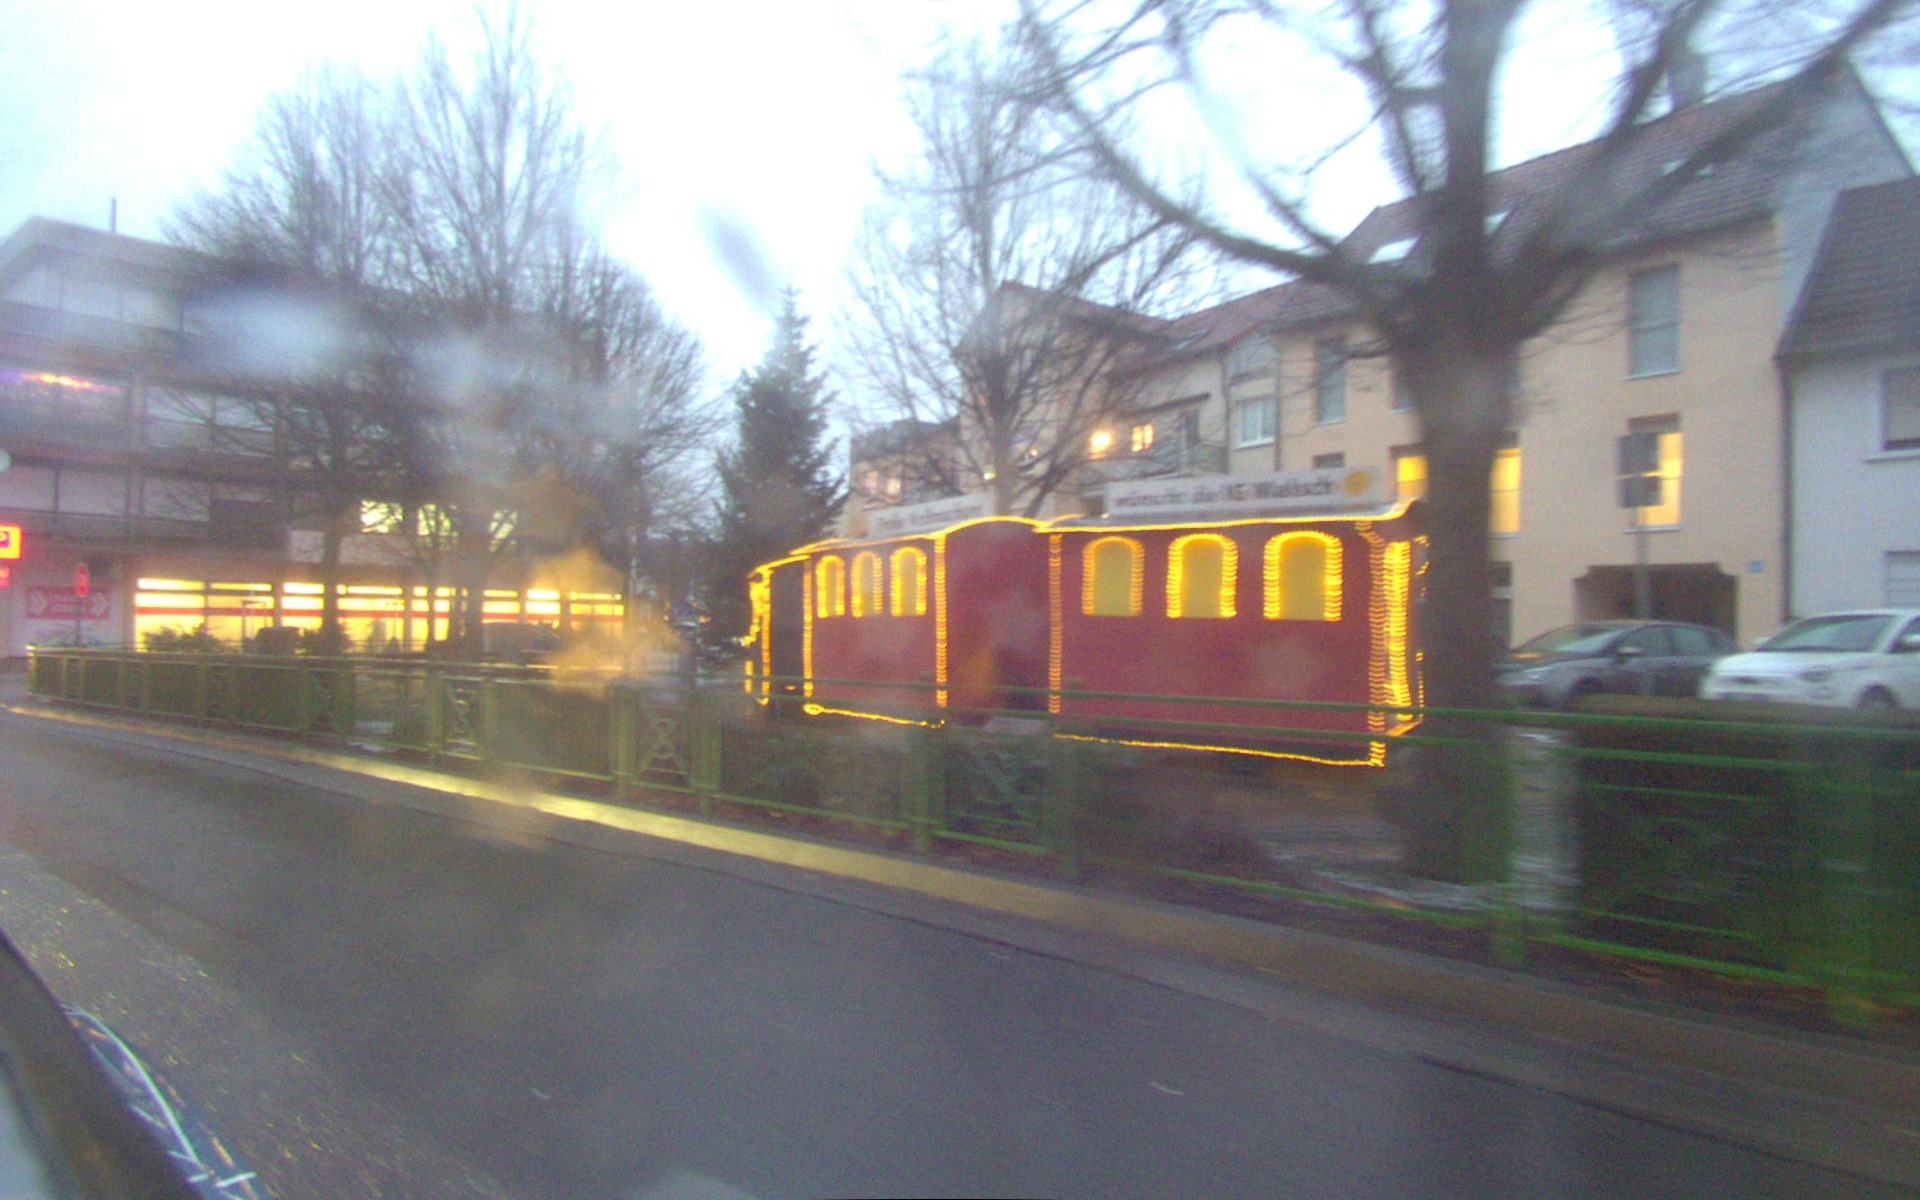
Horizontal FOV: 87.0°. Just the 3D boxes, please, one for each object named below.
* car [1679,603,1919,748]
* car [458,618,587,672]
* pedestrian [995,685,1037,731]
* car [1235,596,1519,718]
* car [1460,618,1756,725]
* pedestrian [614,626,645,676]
[{"bbox_3d":[10.109,0.756,11.185,3.427,1.420,1.614,-1,-1,-13],"label":"car"},{"bbox_3d":[-13.134,1.317,30.454,3.259,1.519,1.504,0,-1,-41],"label":"car"},{"bbox_3d":[0.627,1.213,11.385,0.361,0.488,0.291,-1,-3,42],"label":"pedestrian"},{"bbox_3d":[6.107,0.783,14.943,3.573,1.624,1.615,-1,-1,-15],"label":"car"},{"bbox_3d":[8.401,0.876,13.216,3.004,1.229,1.615,-1,-1,-15],"label":"car"},{"bbox_3d":[-9.090,1.391,27.832,0.612,1.349,0.568,0,-2,-41],"label":"pedestrian"}]
